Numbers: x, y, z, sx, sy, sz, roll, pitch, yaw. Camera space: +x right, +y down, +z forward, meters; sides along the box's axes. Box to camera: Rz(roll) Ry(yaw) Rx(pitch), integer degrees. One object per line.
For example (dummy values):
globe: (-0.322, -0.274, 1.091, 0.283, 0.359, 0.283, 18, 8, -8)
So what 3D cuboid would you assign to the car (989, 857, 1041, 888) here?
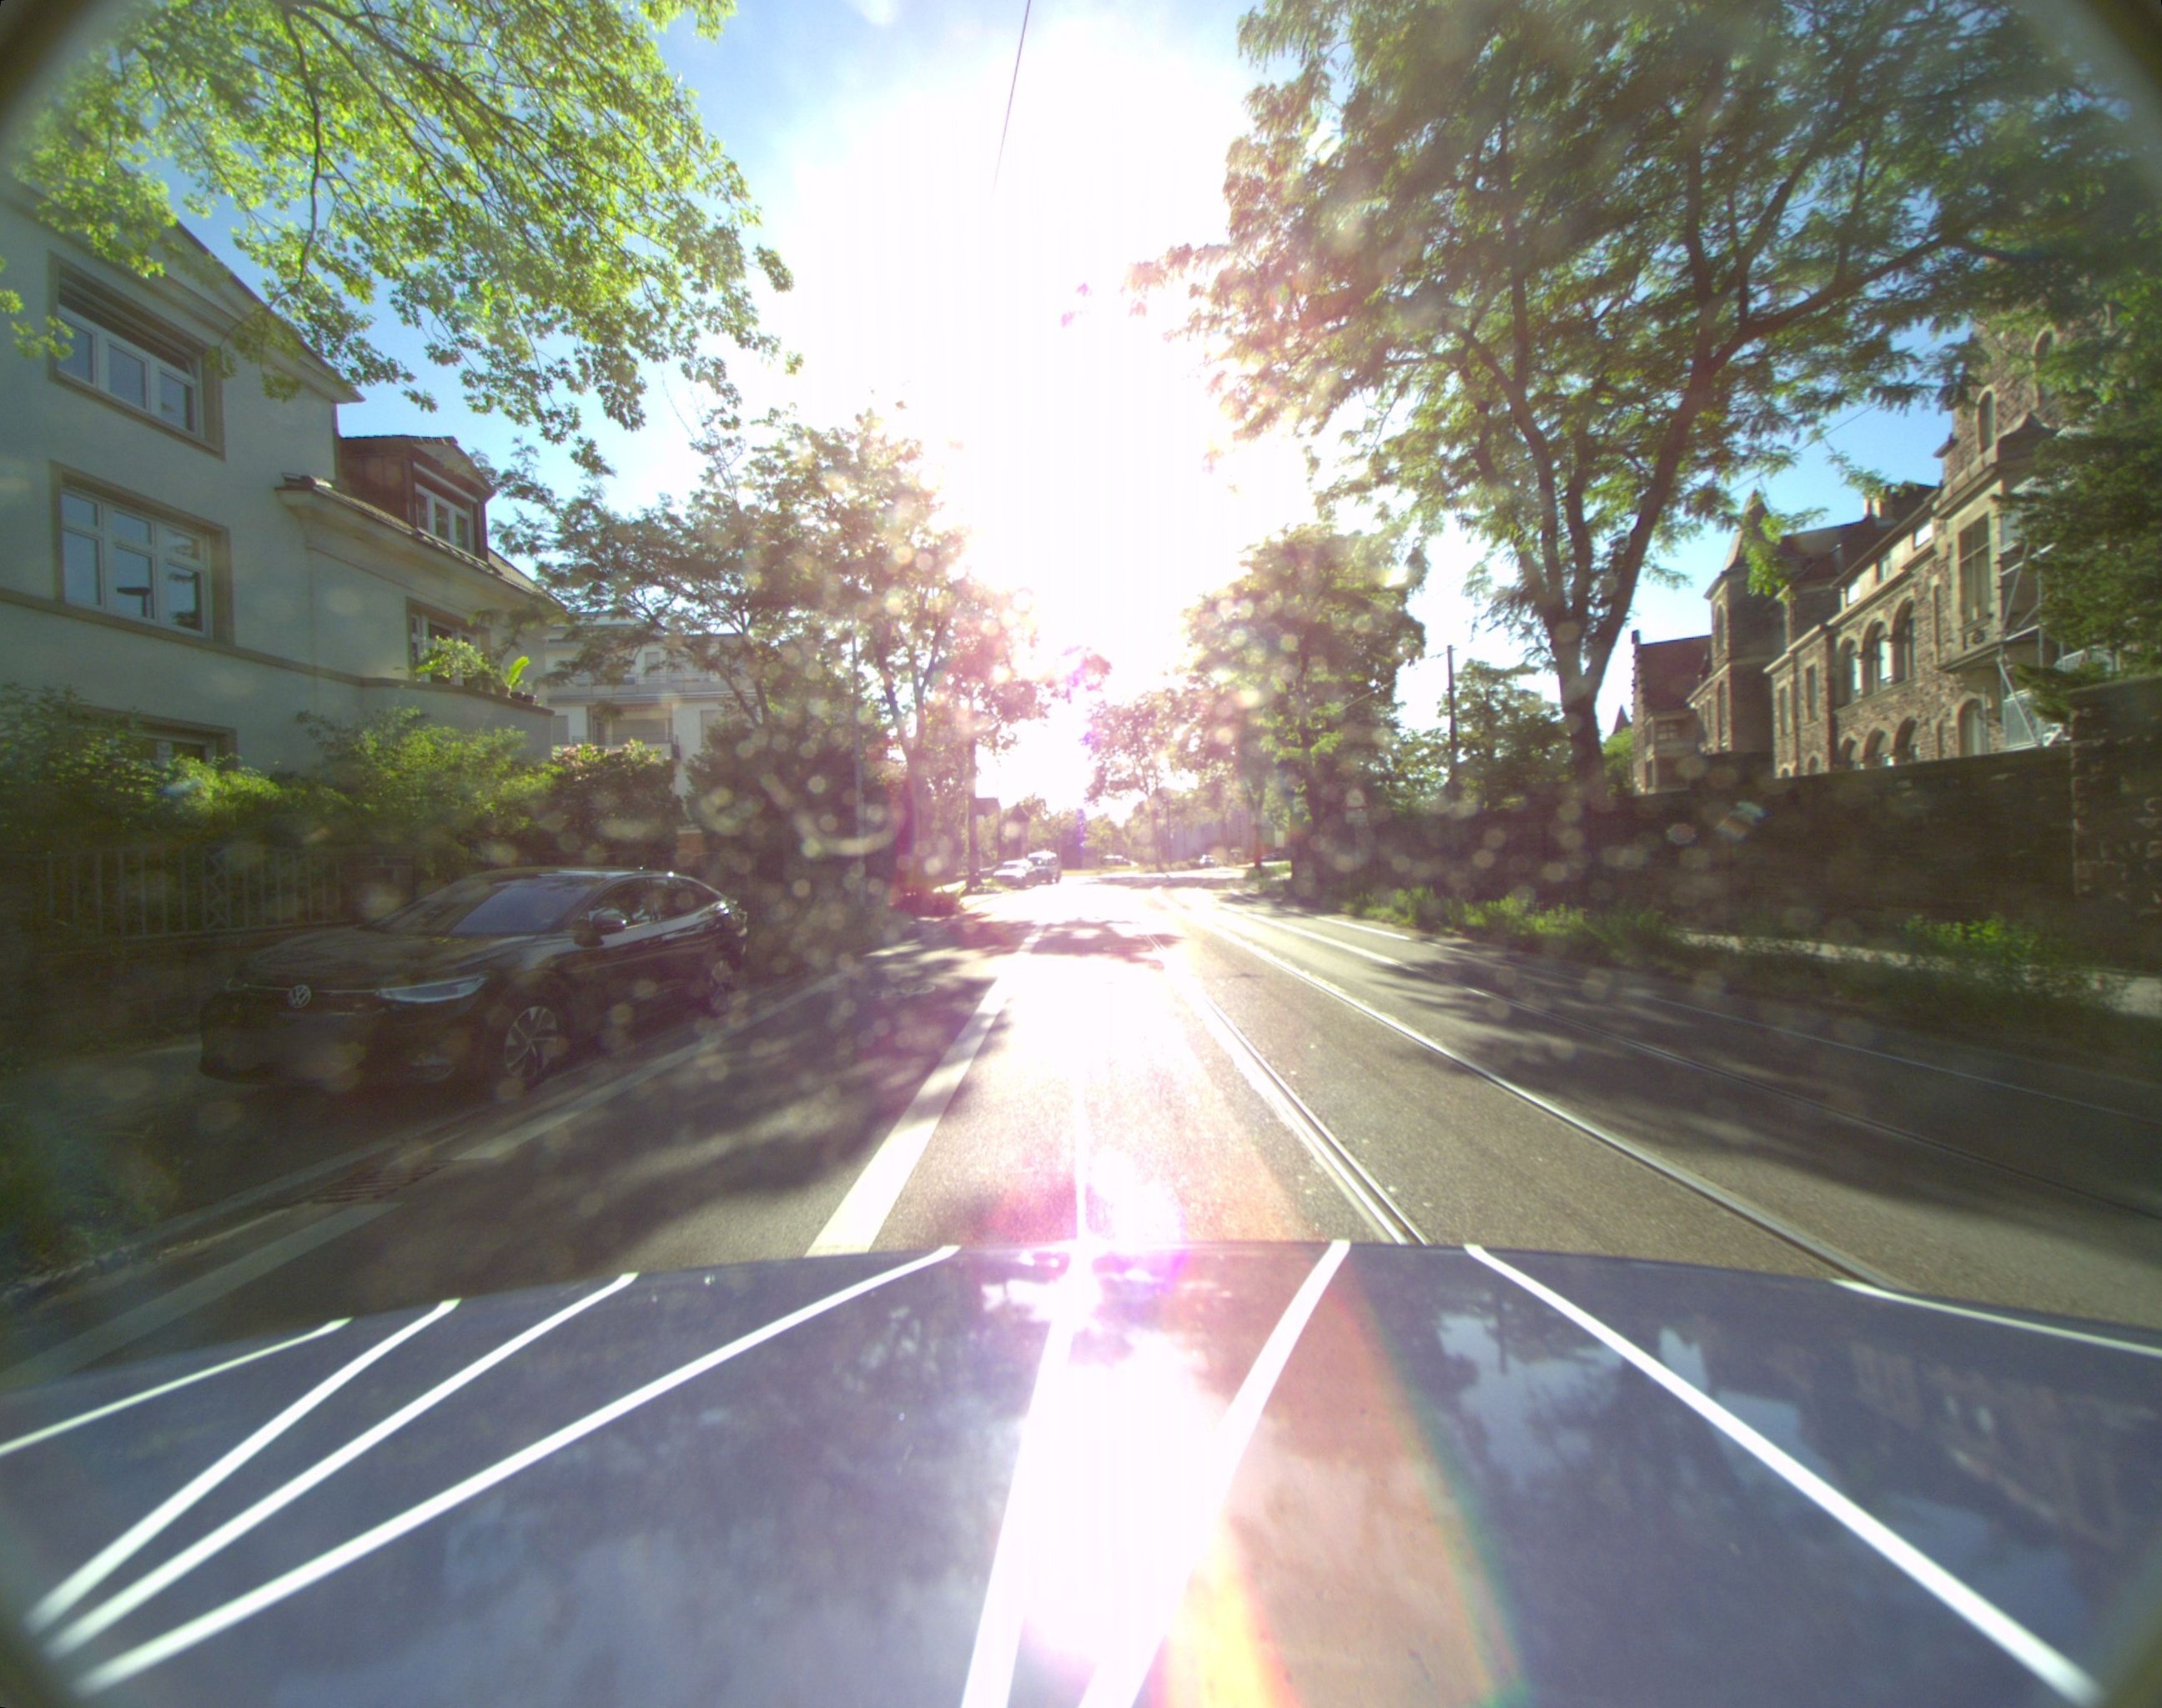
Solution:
car: (-3.459, 0.956, 40.864, 1.998, 1.415, 4.333, -1, 1, 6)

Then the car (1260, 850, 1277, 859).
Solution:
car: (34.333, 0.127, 139.187, 1.739, 1.487, 4.538, -2, 0, 31)

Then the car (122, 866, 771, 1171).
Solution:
car: (-4.799, 1.026, 6.934, 1.808, 1.684, 4.729, 2, 0, 2)

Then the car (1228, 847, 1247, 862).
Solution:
car: (22.840, 0.076, 110.790, 1.996, 2.083, 4.723, -1, 0, 20)

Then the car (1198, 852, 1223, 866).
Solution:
car: (16.012, 0.584, 93.763, 2.002, 1.457, 5.440, 2, 2, 20)

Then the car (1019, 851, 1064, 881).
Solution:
car: (-2.355, 0.713, 46.770, 2.026, 1.736, 4.754, -1, 0, 6)

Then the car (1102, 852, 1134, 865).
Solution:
car: (6.031, 0.749, 123.967, 5.208, 1.874, 2.100, -3, 0, 3)

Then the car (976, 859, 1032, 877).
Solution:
car: (-6.555, 1.200, 65.065, 4.520, 1.361, 1.969, -2, 0, 4)
